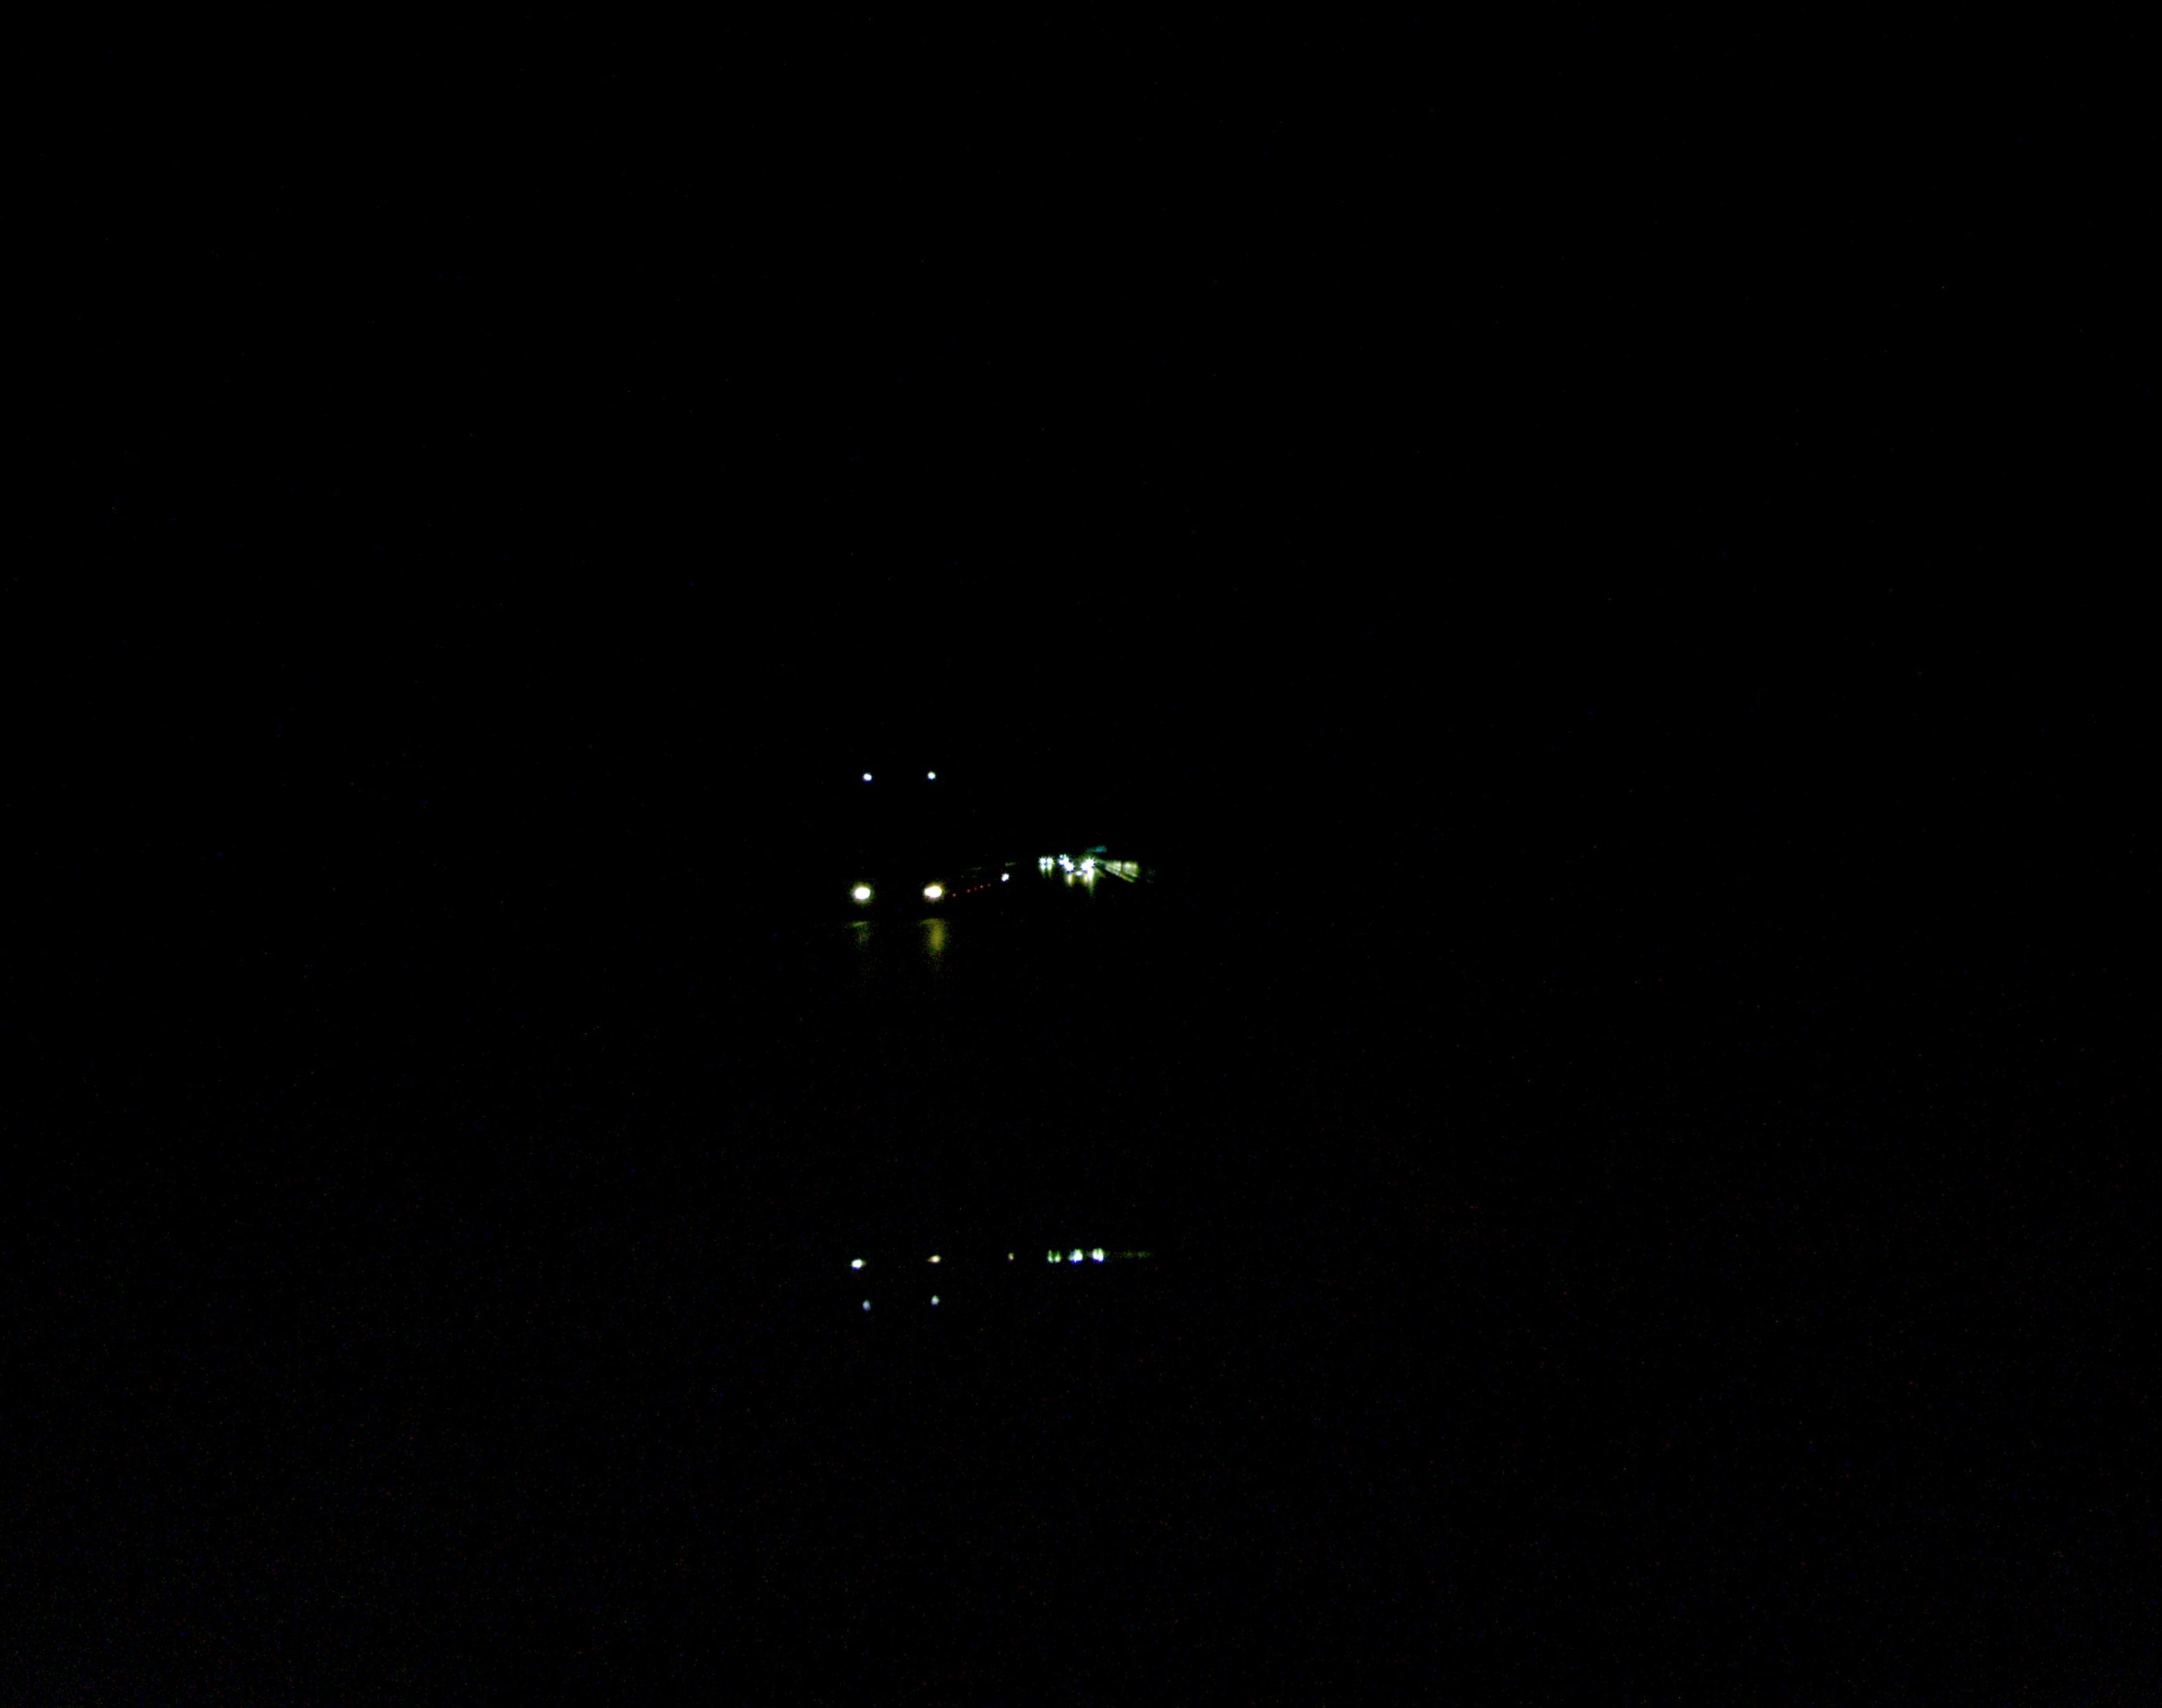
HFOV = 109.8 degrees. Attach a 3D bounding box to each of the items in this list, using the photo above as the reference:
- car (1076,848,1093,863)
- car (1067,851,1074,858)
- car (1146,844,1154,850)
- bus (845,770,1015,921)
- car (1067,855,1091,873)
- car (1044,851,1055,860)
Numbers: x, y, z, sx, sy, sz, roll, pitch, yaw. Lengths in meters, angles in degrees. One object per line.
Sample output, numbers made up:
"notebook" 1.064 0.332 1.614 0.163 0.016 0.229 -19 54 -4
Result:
"car" 0.498 0.197 97.525 2.012 1.652 4.000 -6 -1 1
"car" -2.922 0.168 213.614 1.939 1.608 4.000 -6 -1 -1
"car" 22.292 -2.170 245.726 1.999 1.914 3.999 -2 0 -1
"bus" -4.719 -0.309 27.892 2.658 3.971 14.702 -2 1 2
"car" -0.213 0.907 67.841 1.840 1.392 5.069 -6 -1 -2
"car" -6.620 0.299 158.634 1.999 1.707 5.168 -6 -1 -2
